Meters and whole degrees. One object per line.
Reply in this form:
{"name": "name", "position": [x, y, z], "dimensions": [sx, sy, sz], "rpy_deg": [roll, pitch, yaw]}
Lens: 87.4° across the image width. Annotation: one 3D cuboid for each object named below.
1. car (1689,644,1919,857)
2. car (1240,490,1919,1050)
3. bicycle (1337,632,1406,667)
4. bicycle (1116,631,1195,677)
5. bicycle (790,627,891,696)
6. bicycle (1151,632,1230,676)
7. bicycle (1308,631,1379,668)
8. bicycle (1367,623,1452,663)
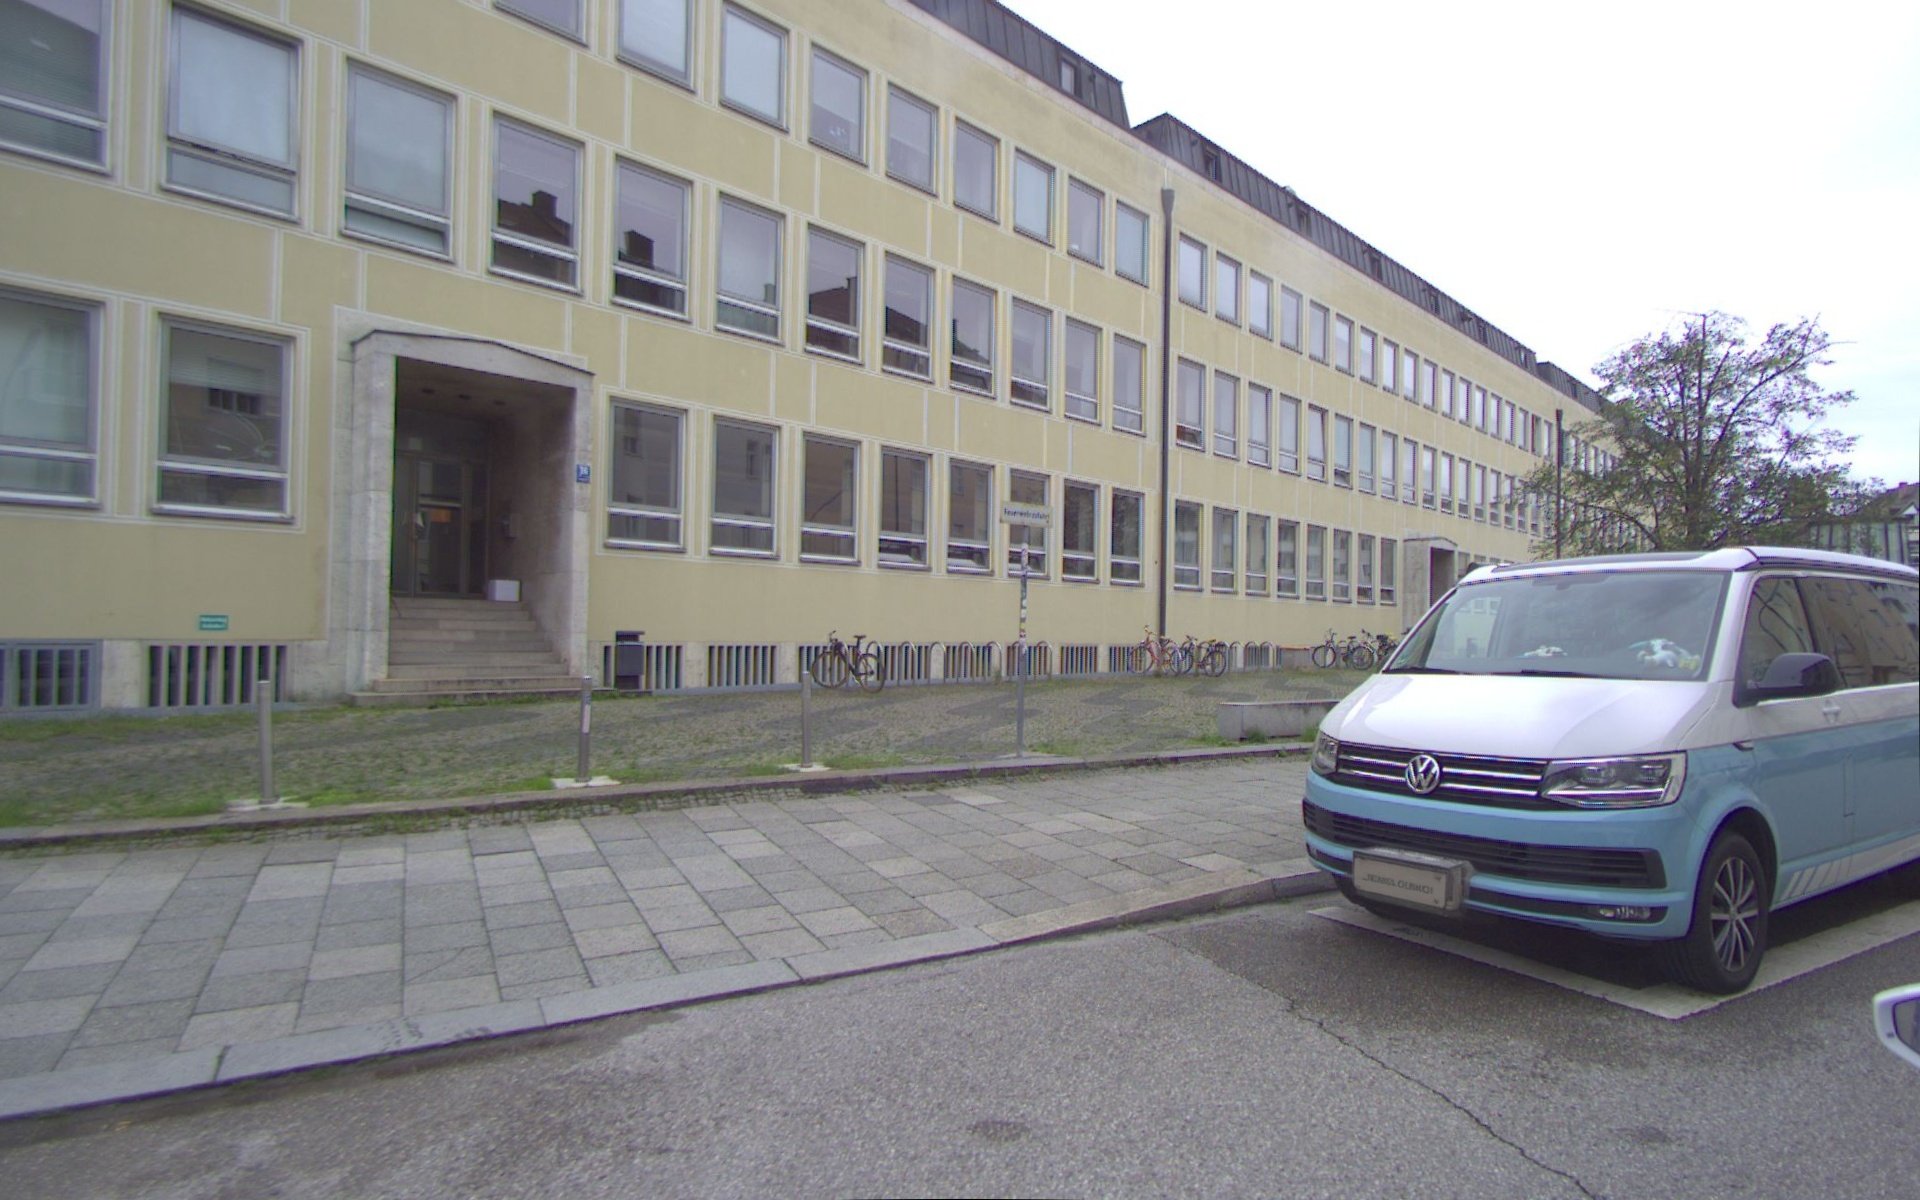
{"name": "car", "position": [7.988, 1.107, 8.334], "dimensions": [3.872, 1.406, 1.735], "rpy_deg": [2, -1, -30]}
{"name": "car", "position": [4.050, 0.707, 5.787], "dimensions": [4.968, 2.005, 1.917], "rpy_deg": [2, -3, -33]}
{"name": "bicycle", "position": [13.082, 1.554, 31.982], "dimensions": [1.926, 1.028, 0.622], "rpy_deg": [0, -1, 44]}
{"name": "bicycle", "position": [4.683, 1.289, 24.173], "dimensions": [0.620, 1.028, 1.931], "rpy_deg": [2, -1, -39]}
{"name": "bicycle", "position": [-2.038, 1.007, 16.978], "dimensions": [1.926, 1.028, 0.578], "rpy_deg": [2, 0, 43]}
{"name": "bicycle", "position": [5.747, 1.336, 25.123], "dimensions": [0.620, 1.028, 1.931], "rpy_deg": [2, -1, -39]}
{"name": "bicycle", "position": [11.510, 1.476, 30.193], "dimensions": [1.926, 1.028, 0.622], "rpy_deg": [0, -1, 44]}
{"name": "bicycle", "position": [15.056, 1.412, 33.692], "dimensions": [2.408, 1.265, 1.050], "rpy_deg": [0, -1, 44]}
